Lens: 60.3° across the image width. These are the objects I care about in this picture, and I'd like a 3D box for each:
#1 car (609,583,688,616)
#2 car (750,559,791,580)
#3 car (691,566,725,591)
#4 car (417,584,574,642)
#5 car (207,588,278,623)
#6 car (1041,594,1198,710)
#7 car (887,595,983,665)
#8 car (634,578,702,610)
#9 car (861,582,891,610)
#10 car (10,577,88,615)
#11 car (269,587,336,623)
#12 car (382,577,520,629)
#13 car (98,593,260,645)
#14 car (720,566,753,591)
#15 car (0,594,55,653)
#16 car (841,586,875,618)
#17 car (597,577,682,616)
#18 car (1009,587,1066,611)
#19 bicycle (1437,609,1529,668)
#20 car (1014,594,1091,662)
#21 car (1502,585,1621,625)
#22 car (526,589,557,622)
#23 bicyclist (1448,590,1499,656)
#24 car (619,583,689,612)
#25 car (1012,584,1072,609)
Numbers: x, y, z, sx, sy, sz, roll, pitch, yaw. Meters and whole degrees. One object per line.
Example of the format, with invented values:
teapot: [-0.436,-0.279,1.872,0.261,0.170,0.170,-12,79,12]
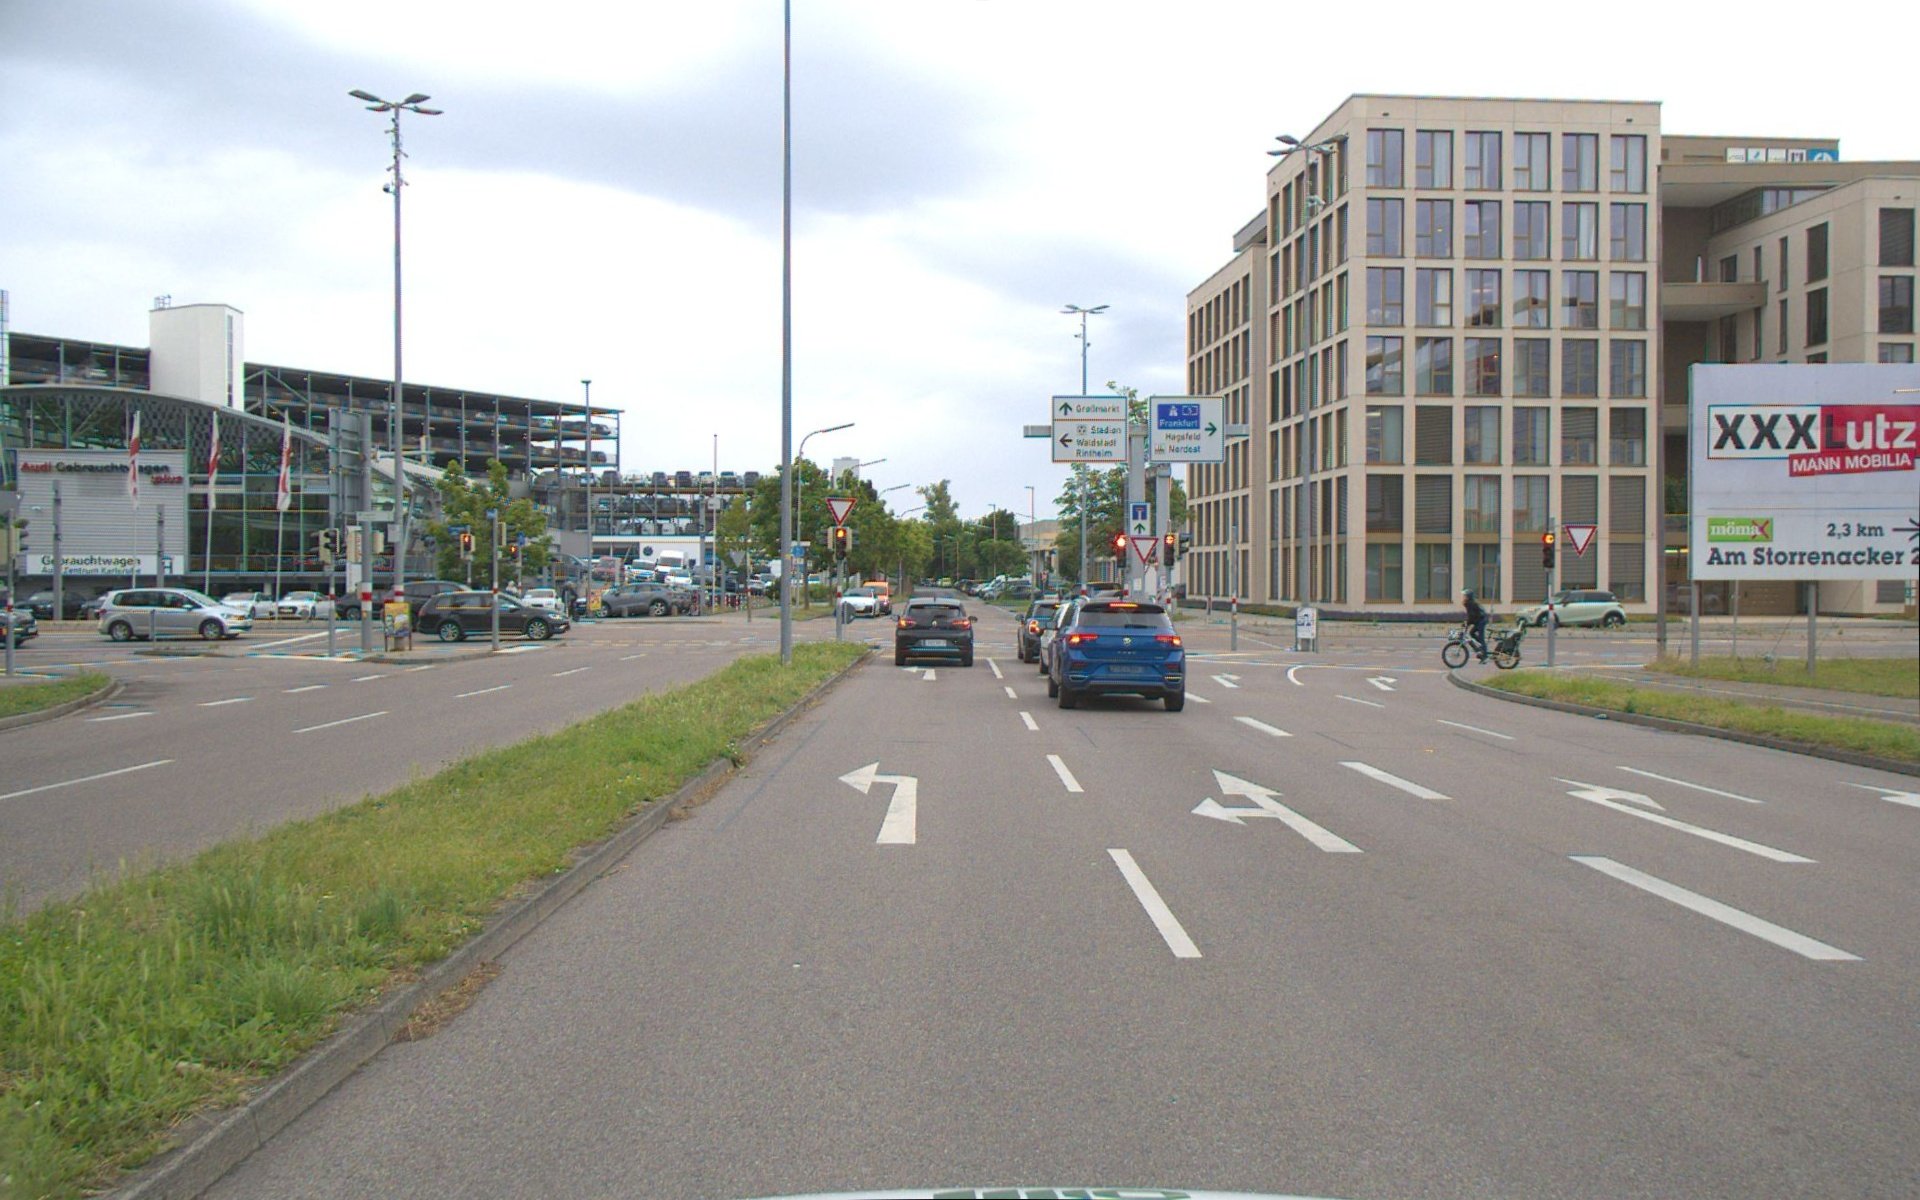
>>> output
car: [-15.627,-0.040,83.006,3.749,1.617,1.680,0,2,-6]
car: [-15.422,-2.475,134.415,3.230,1.669,1.479,0,2,-5]
car: [-18.888,-1.630,124.155,1.739,1.735,3.919,0,2,3]
car: [-14.052,0.391,50.297,4.333,1.689,1.996,0,0,-8]
car: [-32.054,0.218,73.963,1.684,1.425,3.535,0,2,-2]
car: [2.256,0.699,24.383,1.798,1.541,3.999,1,0,-2]
car: [-0.615,0.626,36.863,1.948,1.453,4.238,0,0,-3]
car: [-16.030,-0.342,90.963,3.536,1.697,1.547,0,2,-6]
car: [-4.694,-0.240,92.589,1.568,1.478,3.324,0,2,-1]
car: [-40.245,-0.189,73.152,1.566,1.511,3.535,0,2,-2]
car: [-29.453,0.203,74.162,1.684,1.425,3.535,0,2,-2]
car: [-17.397,0.078,56.727,4.324,1.672,1.995,0,2,-11]
car: [-24.635,0.591,52.304,4.169,1.535,1.997,0,2,-8]
car: [-16.743,-1.624,124.258,1.739,1.735,3.919,0,2,3]
car: [-29.377,0.704,48.547,4.458,1.688,1.996,-1,1,-8]
car: [-5.174,0.095,84.433,1.568,1.478,3.324,0,2,-1]
car: [-15.542,-0.160,80.312,3.910,1.821,1.845,0,2,-6]
car: [5.262,-0.089,112.115,3.528,1.504,1.761,1,2,19]
bicycle: [12.405,0.894,39.275,1.971,1.318,0.699,1,1,37]
car: [2.125,0.622,38.593,1.494,1.457,3.389,1,1,-2]
car: [23.798,0.183,65.522,4.110,1.516,1.693,0,2,-5]
car: [-19.027,0.225,75.156,1.348,1.349,3.022,0,2,-15]
bicyclist: [12.228,0.534,39.414,0.980,1.530,0.699,1,1,37]
car: [-16.116,-0.132,87.256,3.536,1.502,1.547,0,2,-6]
car: [5.244,-0.222,106.188,3.527,1.504,1.761,1,2,17]
